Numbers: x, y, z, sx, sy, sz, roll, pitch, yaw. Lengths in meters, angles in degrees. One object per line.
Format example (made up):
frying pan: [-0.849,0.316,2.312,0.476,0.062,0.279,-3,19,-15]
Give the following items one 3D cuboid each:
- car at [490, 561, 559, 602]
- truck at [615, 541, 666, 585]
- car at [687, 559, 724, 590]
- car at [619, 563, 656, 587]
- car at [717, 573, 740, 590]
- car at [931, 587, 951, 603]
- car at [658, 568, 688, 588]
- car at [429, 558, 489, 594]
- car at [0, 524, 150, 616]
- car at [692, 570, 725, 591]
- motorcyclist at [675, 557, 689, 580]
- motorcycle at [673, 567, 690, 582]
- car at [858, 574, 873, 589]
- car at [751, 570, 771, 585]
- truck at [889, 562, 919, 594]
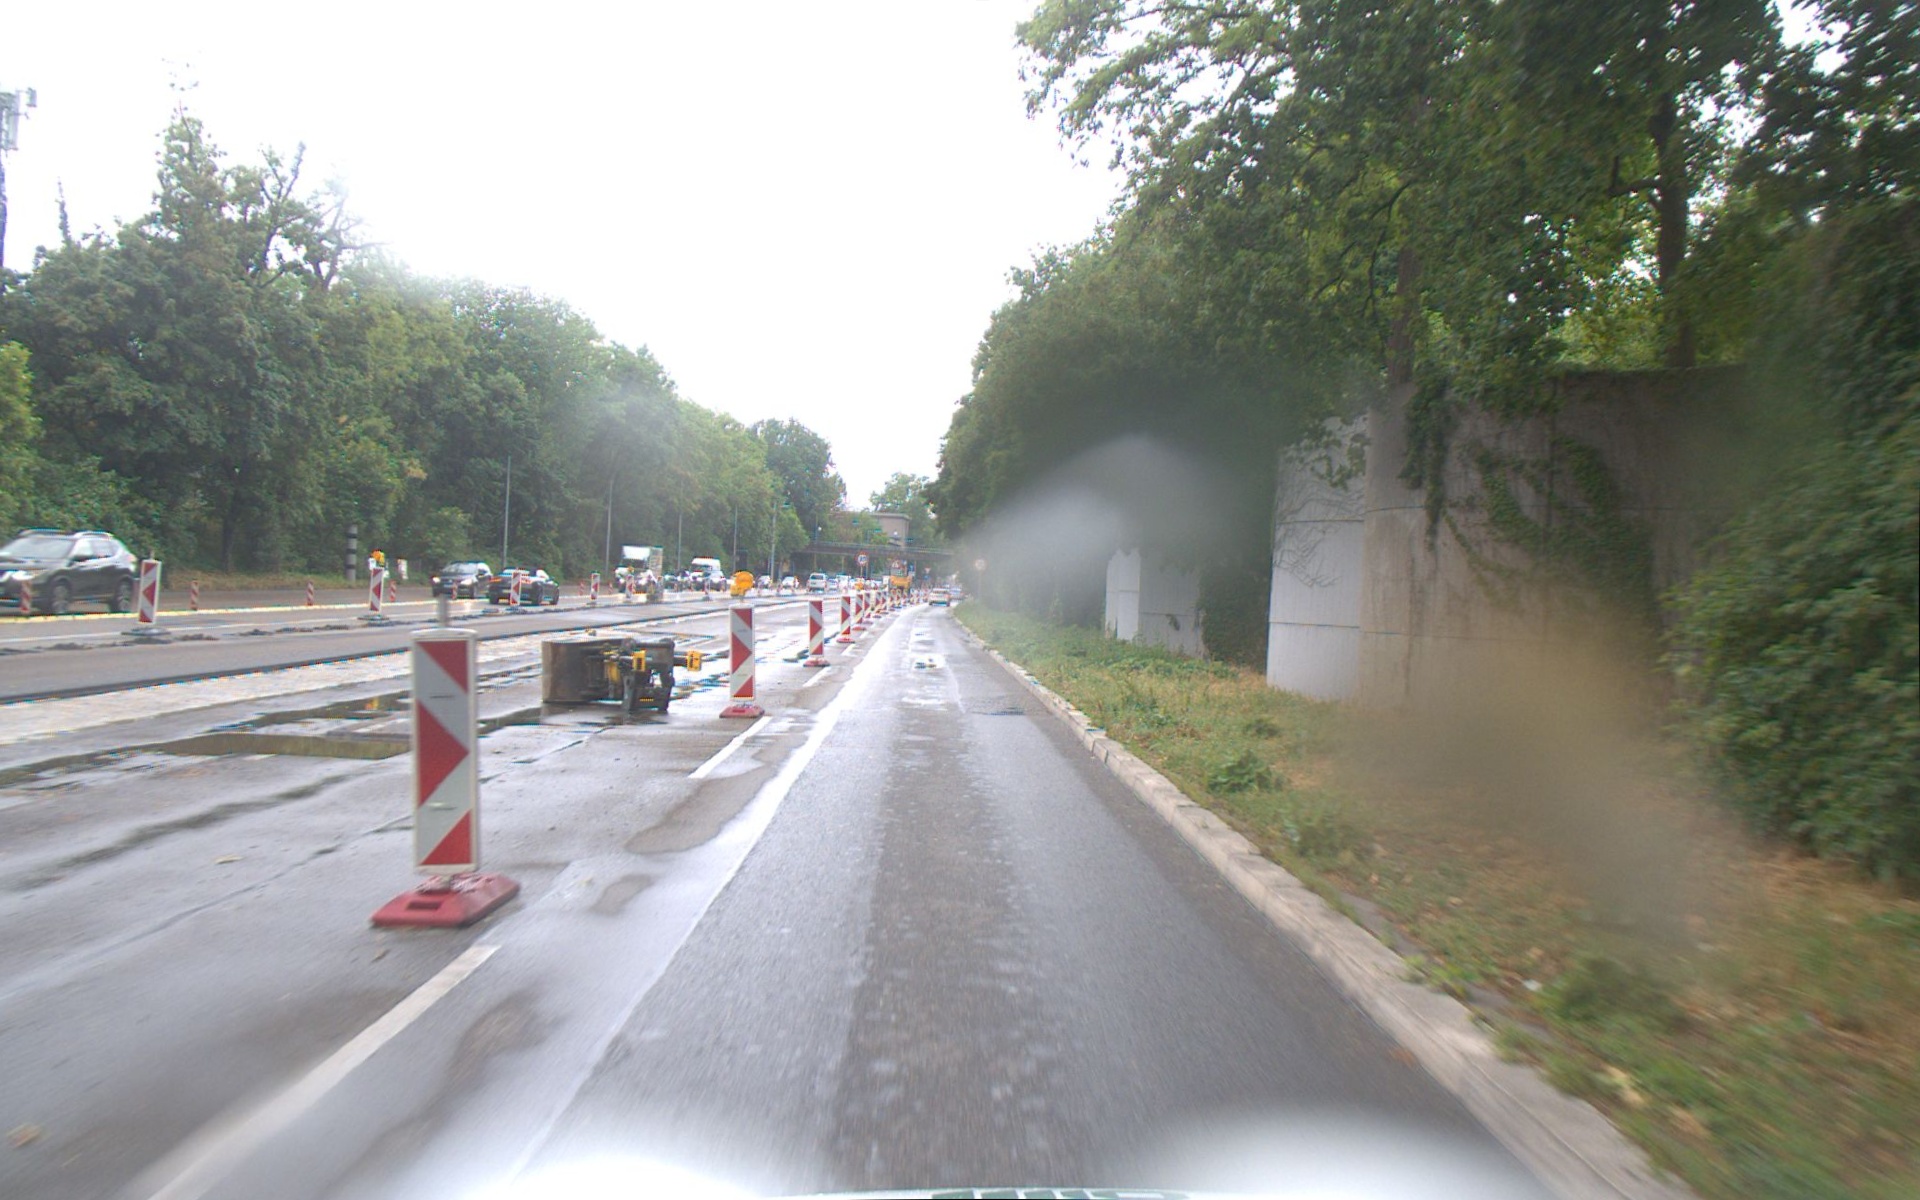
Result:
car: [-16.180,-0.705,61.572,1.575,1.429,4.039,2,1,-2]
truck: [-22.820,-2.633,118.447,2.200,2.991,6.935,2,1,0]
car: [-22.101,-2.218,144.000,2.057,2.624,6.853,2,1,0]
car: [-20.268,-1.590,104.061,1.636,1.440,4.318,2,1,-2]
car: [-22.320,-1.767,159.510,1.636,1.511,4.320,2,1,0]
car: [-1.666,-0.480,143.372,1.663,1.359,3.490,0,1,-1]
car: [-23.104,-1.745,133.190,1.636,1.511,4.320,2,1,0]
car: [-19.967,-0.968,66.060,1.419,1.355,3.858,2,1,-4]
car: [-18.740,-0.622,34.308,1.700,1.752,4.492,2,0,-2]
car: [-20.174,-1.561,132.718,1.920,1.557,4.436,2,1,0]
motorcyclist: [-19.719,-2.238,117.263,0.811,1.592,0.926,3,0,-2]
motorcycle: [-19.740,-1.792,117.294,0.811,1.032,2.366,3,1,-1]
car: [-12.519,-2.483,219.371,1.636,1.840,4.321,2,2,0]
car: [-21.984,-2.464,182.414,1.636,1.511,4.320,2,1,0]
truck: [-6.652,-2.630,197.572,3.193,3.558,13.868,2,1,-1]
